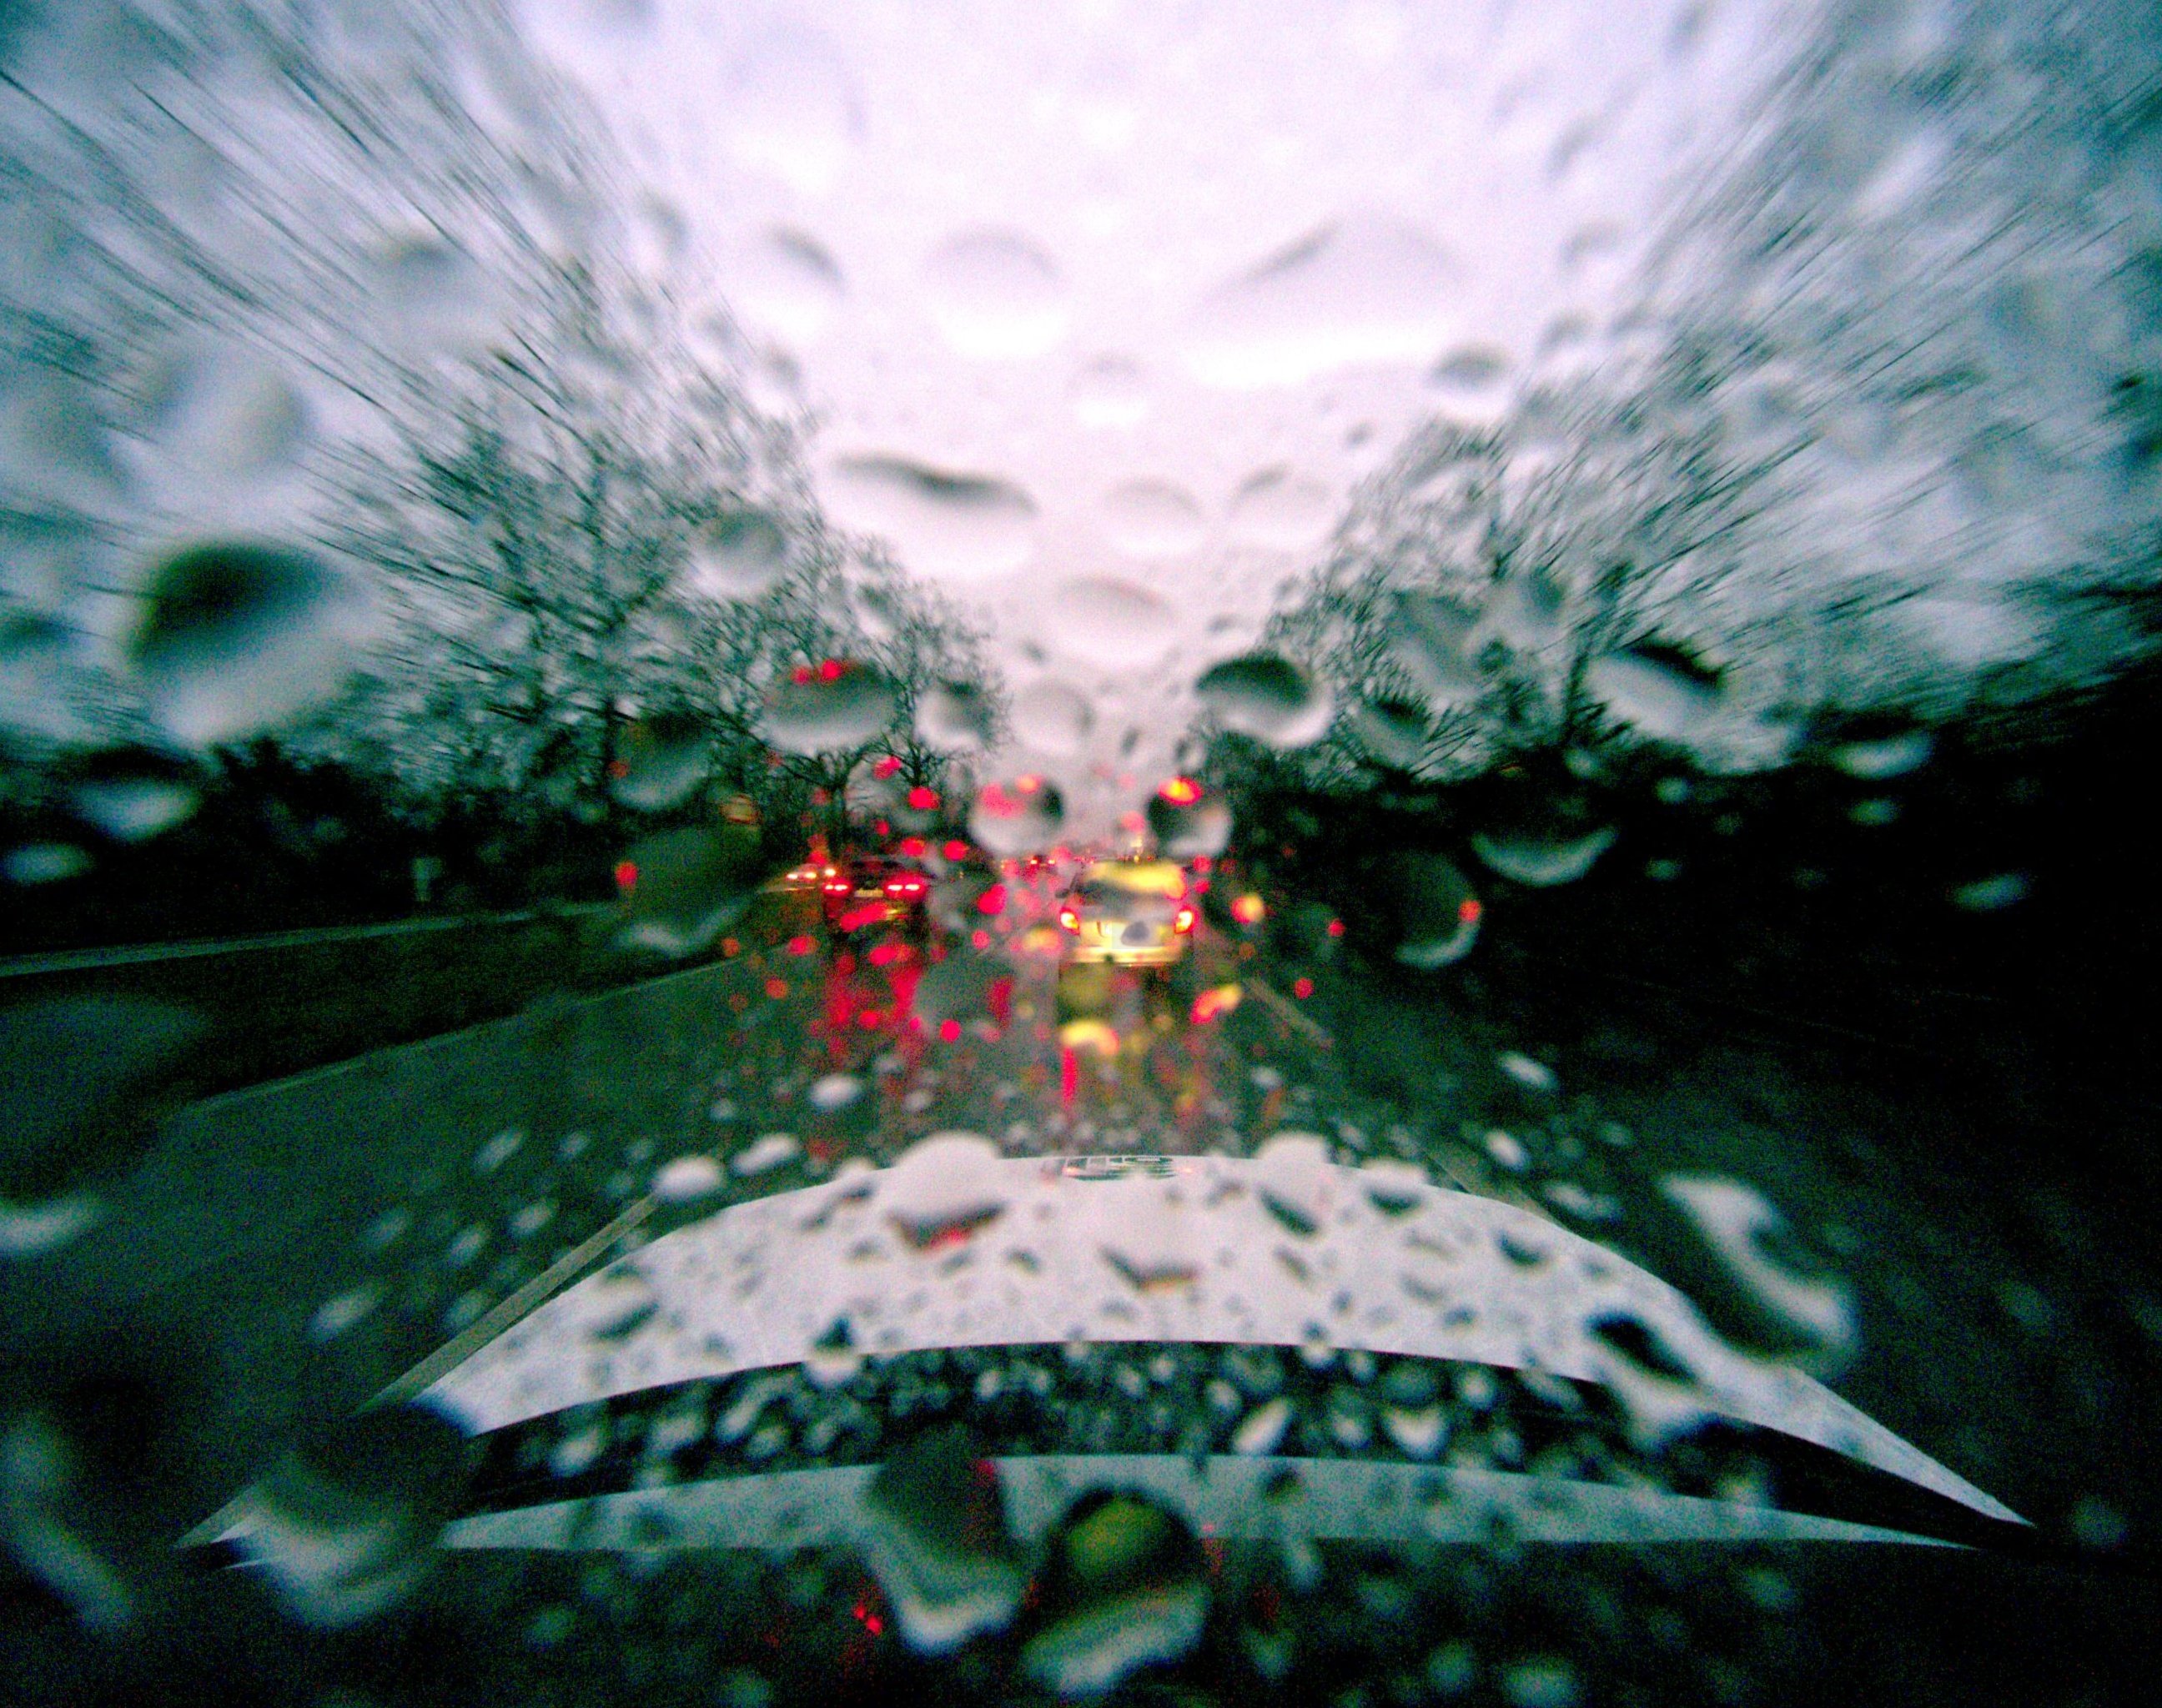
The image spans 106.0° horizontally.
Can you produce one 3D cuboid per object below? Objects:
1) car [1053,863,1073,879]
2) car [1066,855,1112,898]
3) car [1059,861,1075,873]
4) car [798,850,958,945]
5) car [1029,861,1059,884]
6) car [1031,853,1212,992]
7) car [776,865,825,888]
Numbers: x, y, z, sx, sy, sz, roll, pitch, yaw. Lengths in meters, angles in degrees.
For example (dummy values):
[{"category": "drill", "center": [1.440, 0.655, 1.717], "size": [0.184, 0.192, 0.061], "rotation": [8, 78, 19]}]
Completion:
[{"category": "car", "center": [-1.856, 1.753, 85.399], "size": [1.782, 1.545, 4.002], "rotation": [-2, -1, 2]}, {"category": "car", "center": [0.418, 0.945, 36.382], "size": [1.890, 1.767, 4.310], "rotation": [-1, 0, 2]}, {"category": "car", "center": [-1.811, 1.718, 107.729], "size": [1.782, 1.483, 4.002], "rotation": [-2, -1, 2]}, {"category": "car", "center": [-3.734, 0.744, 15.868], "size": [1.987, 1.601, 4.308], "rotation": [0, 0, 0]}, {"category": "car", "center": [-2.617, 1.340, 58.771], "size": [1.782, 1.545, 4.002], "rotation": [-2, -1, 2]}, {"category": "car", "center": [0.533, 0.795, 11.196], "size": [1.986, 1.500, 4.139], "rotation": [-2, -1, 2]}, {"category": "car", "center": [-18.670, 1.459, 54.354], "size": [1.742, 1.425, 3.980], "rotation": [-2, -1, 2]}]
